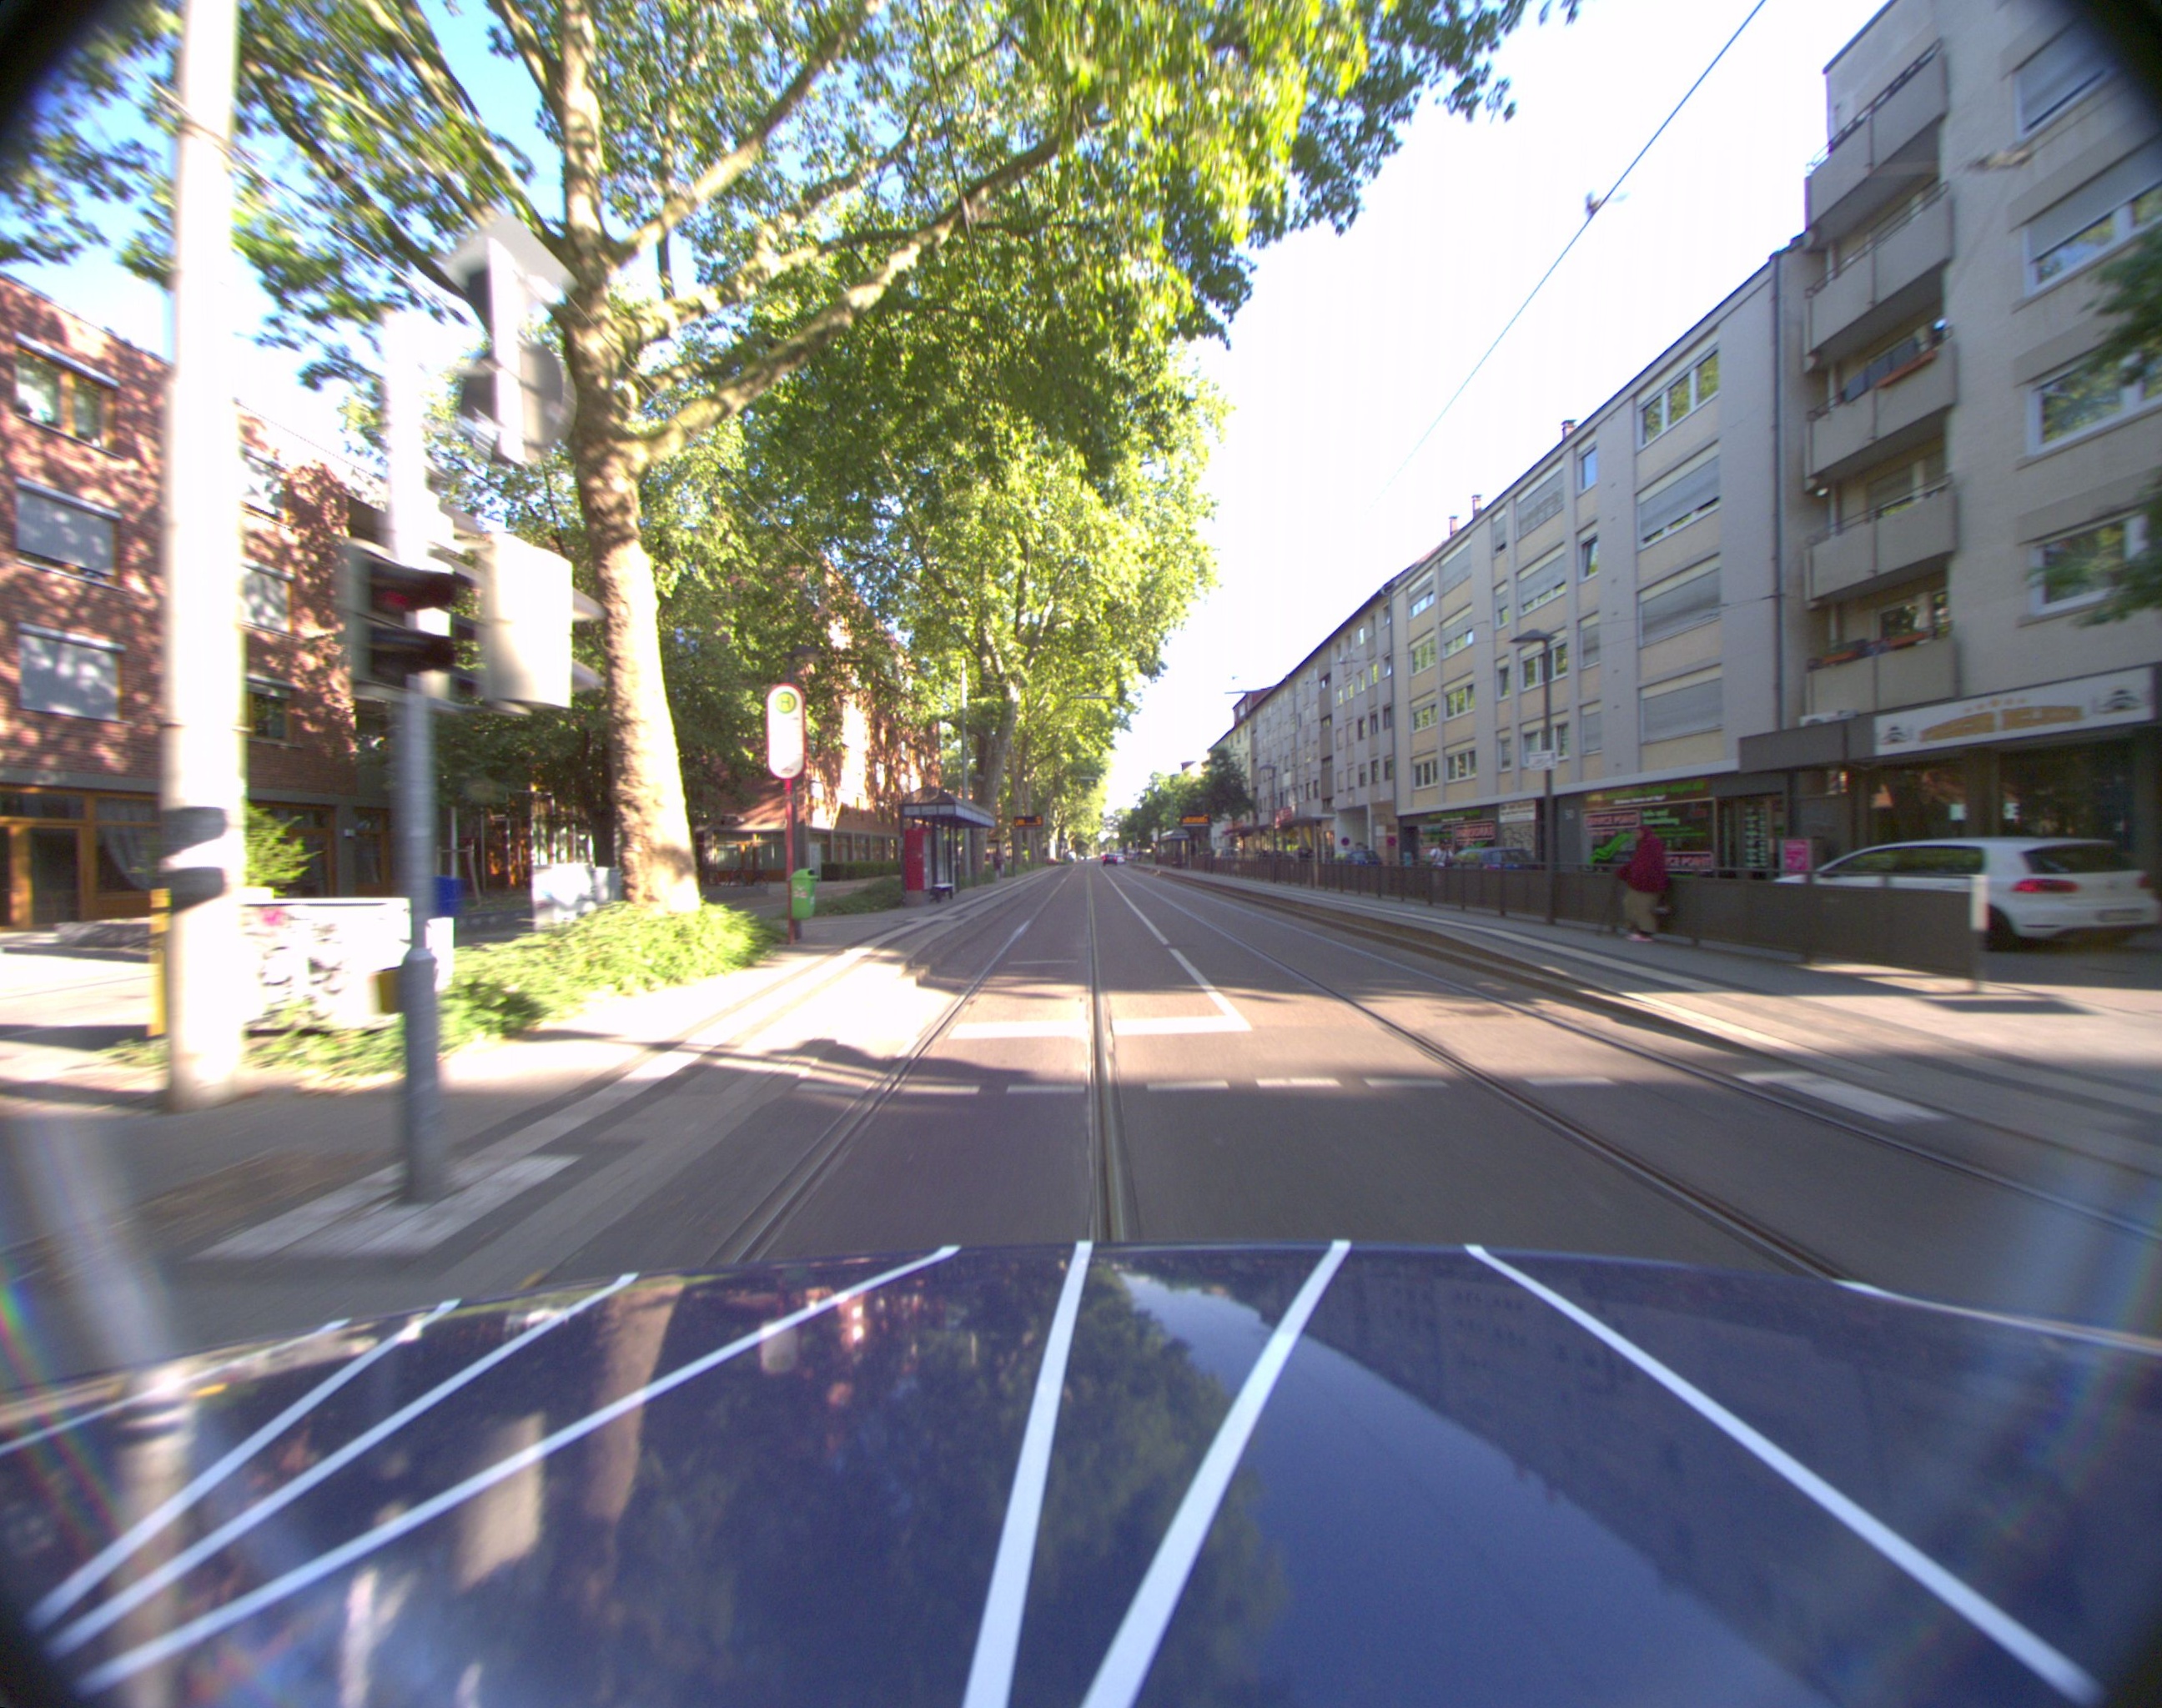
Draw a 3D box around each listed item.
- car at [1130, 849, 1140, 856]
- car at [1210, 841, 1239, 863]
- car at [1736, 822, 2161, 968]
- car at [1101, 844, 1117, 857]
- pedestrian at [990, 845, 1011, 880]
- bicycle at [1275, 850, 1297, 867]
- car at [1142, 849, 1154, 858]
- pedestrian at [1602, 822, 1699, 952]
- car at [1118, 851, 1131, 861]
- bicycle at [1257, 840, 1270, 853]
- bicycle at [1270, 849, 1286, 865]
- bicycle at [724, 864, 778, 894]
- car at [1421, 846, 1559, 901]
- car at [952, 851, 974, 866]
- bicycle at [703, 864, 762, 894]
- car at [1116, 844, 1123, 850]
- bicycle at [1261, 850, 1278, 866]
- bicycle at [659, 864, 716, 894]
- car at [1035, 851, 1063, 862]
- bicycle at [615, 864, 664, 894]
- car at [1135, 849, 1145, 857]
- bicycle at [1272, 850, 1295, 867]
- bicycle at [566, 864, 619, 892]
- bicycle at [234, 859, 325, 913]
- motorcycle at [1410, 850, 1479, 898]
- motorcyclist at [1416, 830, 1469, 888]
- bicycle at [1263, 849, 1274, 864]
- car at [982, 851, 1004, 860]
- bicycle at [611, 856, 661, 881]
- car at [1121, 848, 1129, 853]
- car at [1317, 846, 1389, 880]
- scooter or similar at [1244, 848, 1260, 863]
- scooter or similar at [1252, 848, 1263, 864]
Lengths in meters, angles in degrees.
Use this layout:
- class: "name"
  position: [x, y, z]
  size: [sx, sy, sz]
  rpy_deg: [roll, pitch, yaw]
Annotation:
- class: "car"
  position: [11.914, -0.372, 167.740]
  size: [1.998, 1.521, 3.678]
  rpy_deg: [-1, 0, 3]
- class: "car"
  position: [12.847, -0.194, 68.182]
  size: [1.808, 1.923, 4.049]
  rpy_deg: [-1, 0, -1]
- class: "car"
  position: [12.524, 0.466, 11.208]
  size: [1.883, 1.641, 4.357]
  rpy_deg: [-3, 0, 0]
- class: "car"
  position: [3.600, -0.466, 97.272]
  size: [1.766, 1.579, 3.999]
  rpy_deg: [-1, 0, -1]
- class: "pedestrian"
  position: [-3.934, 0.412, 36.929]
  size: [0.769, 1.650, 0.915]
  rpy_deg: [-1, 1, -22]
- class: "bicycle"
  position: [14.151, 0.284, 52.528]
  size: [0.561, 1.150, 2.028]
  rpy_deg: [-1, 1, -15]
- class: "car"
  position: [11.759, -0.172, 132.909]
  size: [1.998, 1.521, 3.678]
  rpy_deg: [-1, 0, 3]
- class: "pedestrian"
  position: [7.206, 0.404, 9.643]
  size: [0.655, 1.576, 0.772]
  rpy_deg: [-1, 1, 1]
- class: "car"
  position: [6.337, 0.274, 111.595]
  size: [1.766, 1.417, 4.000]
  rpy_deg: [-1, 0, 1]
- class: "bicycle"
  position: [16.579, -0.661, 69.063]
  size: [0.572, 1.150, 2.036]
  rpy_deg: [-1, 0, -5]
- class: "bicycle"
  position: [14.164, 0.199, 54.681]
  size: [0.494, 1.150, 1.751]
  rpy_deg: [-1, 1, -5]
- class: "bicycle"
  position: [-13.361, 1.005, 30.748]
  size: [2.034, 1.150, 0.572]
  rpy_deg: [1, 1, 11]
- class: "car"
  position: [12.453, 0.542, 23.519]
  size: [1.961, 1.535, 4.388]
  rpy_deg: [0, 0, 1]
- class: "car"
  position: [-12.485, 0.478, 80.718]
  size: [1.657, 1.499, 3.961]
  rpy_deg: [-1, 0, 1]
- class: "bicycle"
  position: [-13.699, 0.966, 29.872]
  size: [2.036, 1.150, 0.572]
  rpy_deg: [1, 1, 1]
- class: "car"
  position: [12.144, -2.135, 242.198]
  size: [1.998, 1.741, 3.677]
  rpy_deg: [-1, 0, 0]
- class: "bicycle"
  position: [14.041, 0.304, 56.613]
  size: [0.572, 1.150, 2.036]
  rpy_deg: [-1, 0, -5]
- class: "bicycle"
  position: [-15.892, 1.000, 30.700]
  size: [2.035, 1.150, 0.572]
  rpy_deg: [1, 1, 6]
- class: "car"
  position: [-4.655, 0.297, 110.246]
  size: [3.872, 1.521, 2.000]
  rpy_deg: [-1, 1, 1]
- class: "bicycle"
  position: [-17.860, 0.998, 30.764]
  size: [1.681, 1.150, 0.572]
  rpy_deg: [1, 1, 6]
- class: "car"
  position: [11.895, -0.214, 153.415]
  size: [1.998, 1.521, 3.678]
  rpy_deg: [-1, 0, 3]
- class: "bicycle"
  position: [13.903, 0.301, 52.160]
  size: [0.561, 1.150, 2.028]
  rpy_deg: [-1, 1, -15]
- class: "bicycle"
  position: [-21.051, 1.014, 32.780]
  size: [0.707, 1.150, 2.039]
  rpy_deg: [1, 1, 10]
- class: "bicycle"
  position: [-18.031, 0.692, 17.098]
  size: [1.931, 1.150, 0.573]
  rpy_deg: [1, 1, 16]
- class: "motorcycle"
  position: [9.266, 0.483, 19.440]
  size: [0.851, 1.157, 1.915]
  rpy_deg: [-1, 0, 0]
- class: "motorcyclist"
  position: [9.248, 0.119, 19.488]
  size: [0.875, 1.432, 1.016]
  rpy_deg: [-1, 1, 0]
- class: "bicycle"
  position: [14.570, 0.194, 59.107]
  size: [0.513, 1.150, 1.687]
  rpy_deg: [-1, 1, 4]
- class: "car"
  position: [-15.517, 0.240, 134.369]
  size: [3.674, 1.521, 2.000]
  rpy_deg: [-1, 1, 1]
- class: "bicycle"
  position: [-20.833, 0.672, 35.632]
  size: [1.953, 1.150, 0.732]
  rpy_deg: [0, 1, -25]
- class: "car"
  position: [12.626, -0.943, 219.282]
  size: [1.998, 1.521, 3.677]
  rpy_deg: [-1, 0, 0]
- class: "car"
  position: [12.349, 0.361, 34.786]
  size: [1.799, 1.455, 4.281]
  rpy_deg: [0, 0, 1]
- class: "scooter or similar"
  position: [13.452, 0.103, 59.876]
  size: [0.447, 1.167, 1.272]
  rpy_deg: [-2, 1, -36]
- class: "scooter or similar"
  position: [13.580, 0.136, 58.557]
  size: [0.446, 1.167, 1.274]
  rpy_deg: [-1, 1, -5]
